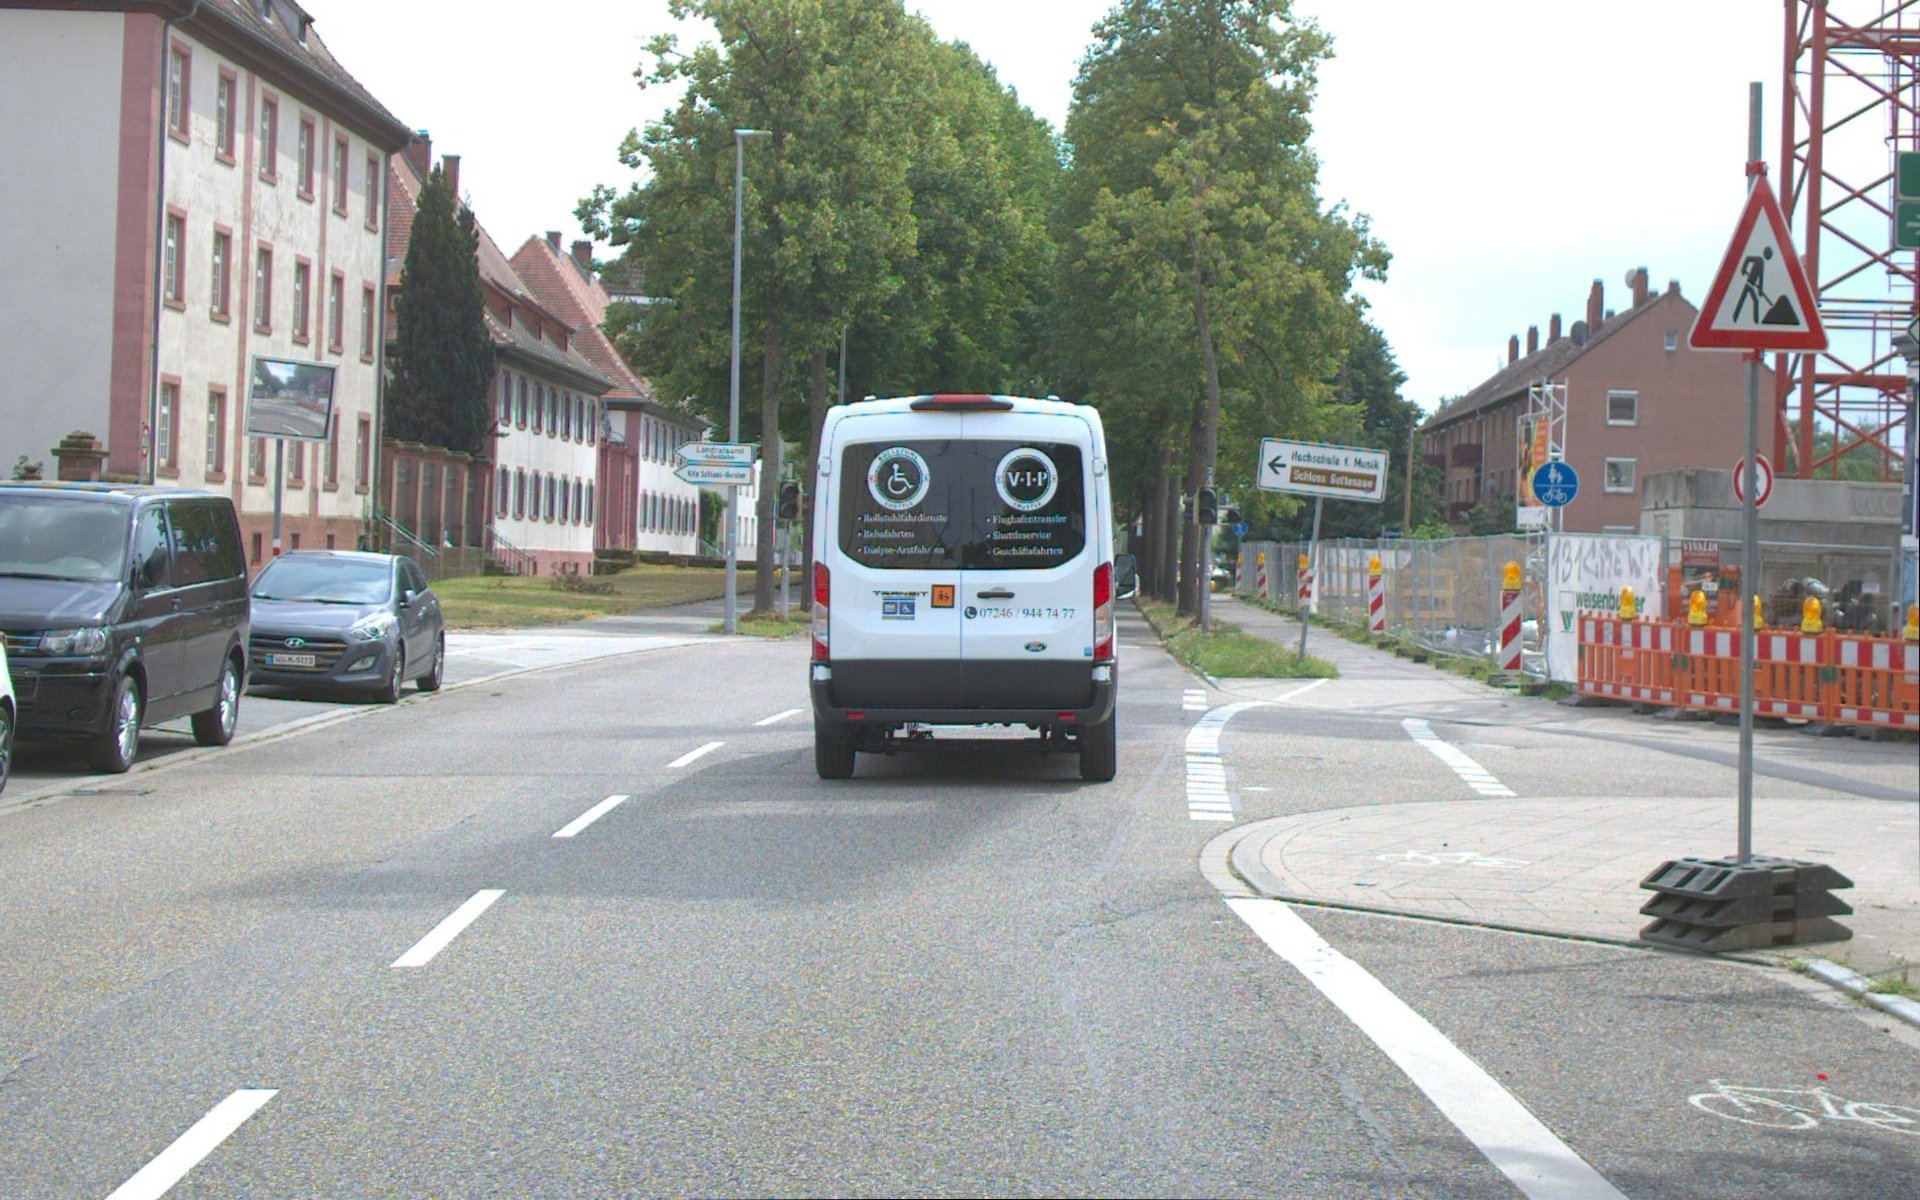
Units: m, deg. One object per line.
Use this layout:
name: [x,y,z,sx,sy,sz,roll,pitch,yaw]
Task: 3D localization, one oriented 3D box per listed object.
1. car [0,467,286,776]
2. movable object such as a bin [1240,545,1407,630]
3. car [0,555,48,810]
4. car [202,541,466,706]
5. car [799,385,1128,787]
car: [-6.465,0.070,25.124,1.949,1.997,4.843,3,1,1]
movable object such as a bin: [11.350,-0.405,107.253,4.686,2.581,3.130,0,0,17]
car: [-6.575,0.484,19.706,1.653,1.524,3.765,3,1,-1]
car: [-6.339,0.194,35.254,1.822,1.468,4.298,4,1,0]
car: [-0.012,-0.096,23.764,2.062,2.531,4.000,0,0,-1]
